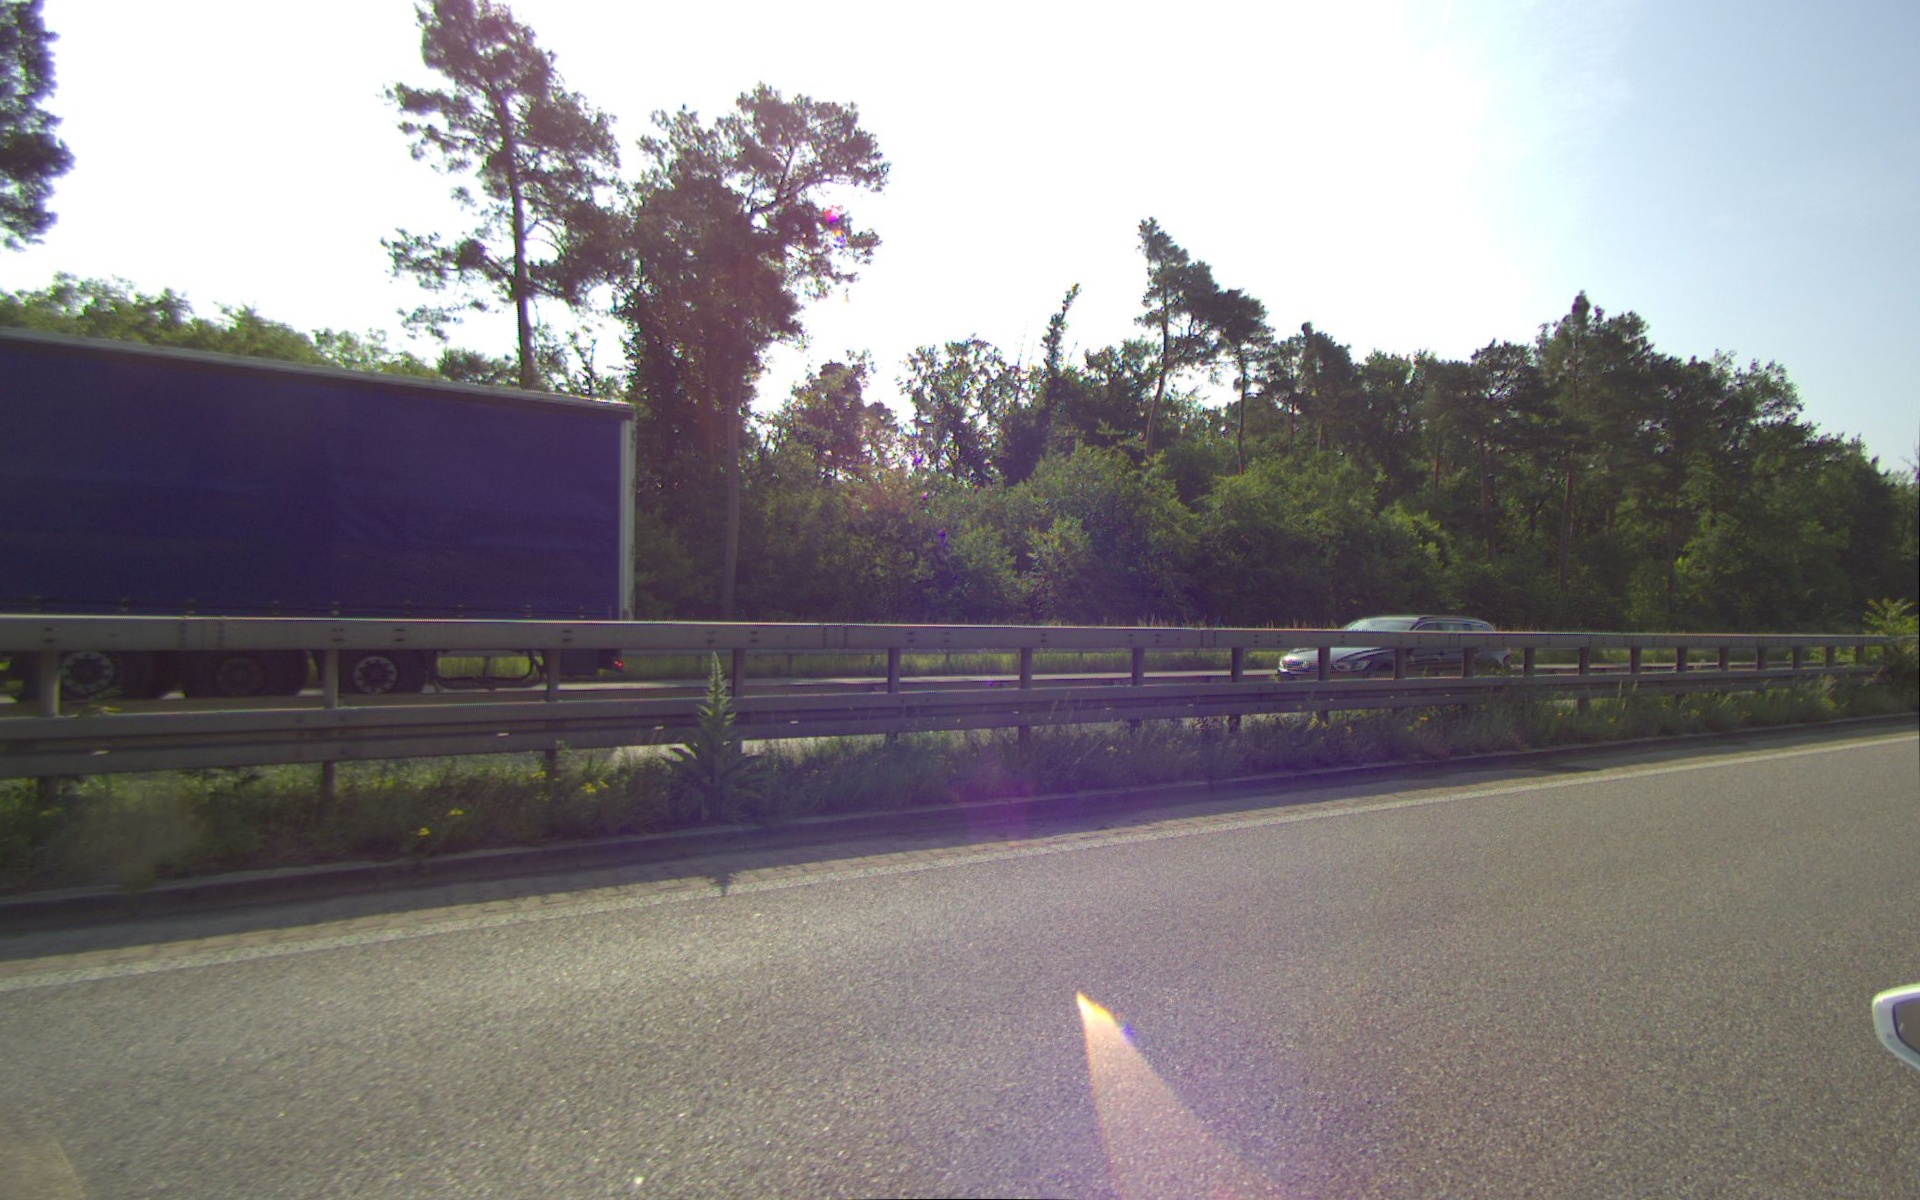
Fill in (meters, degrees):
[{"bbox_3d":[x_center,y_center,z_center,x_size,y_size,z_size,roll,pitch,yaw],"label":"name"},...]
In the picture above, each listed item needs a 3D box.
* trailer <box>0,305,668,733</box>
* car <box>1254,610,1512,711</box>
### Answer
[{"bbox_3d":[-10.117,-0.782,11.180,12.929,4.256,2.678,1,-1,-31],"label":"trailer"},{"bbox_3d":[7.184,0.948,16.905,4.531,1.469,1.695,1,0,-32],"label":"car"}]
